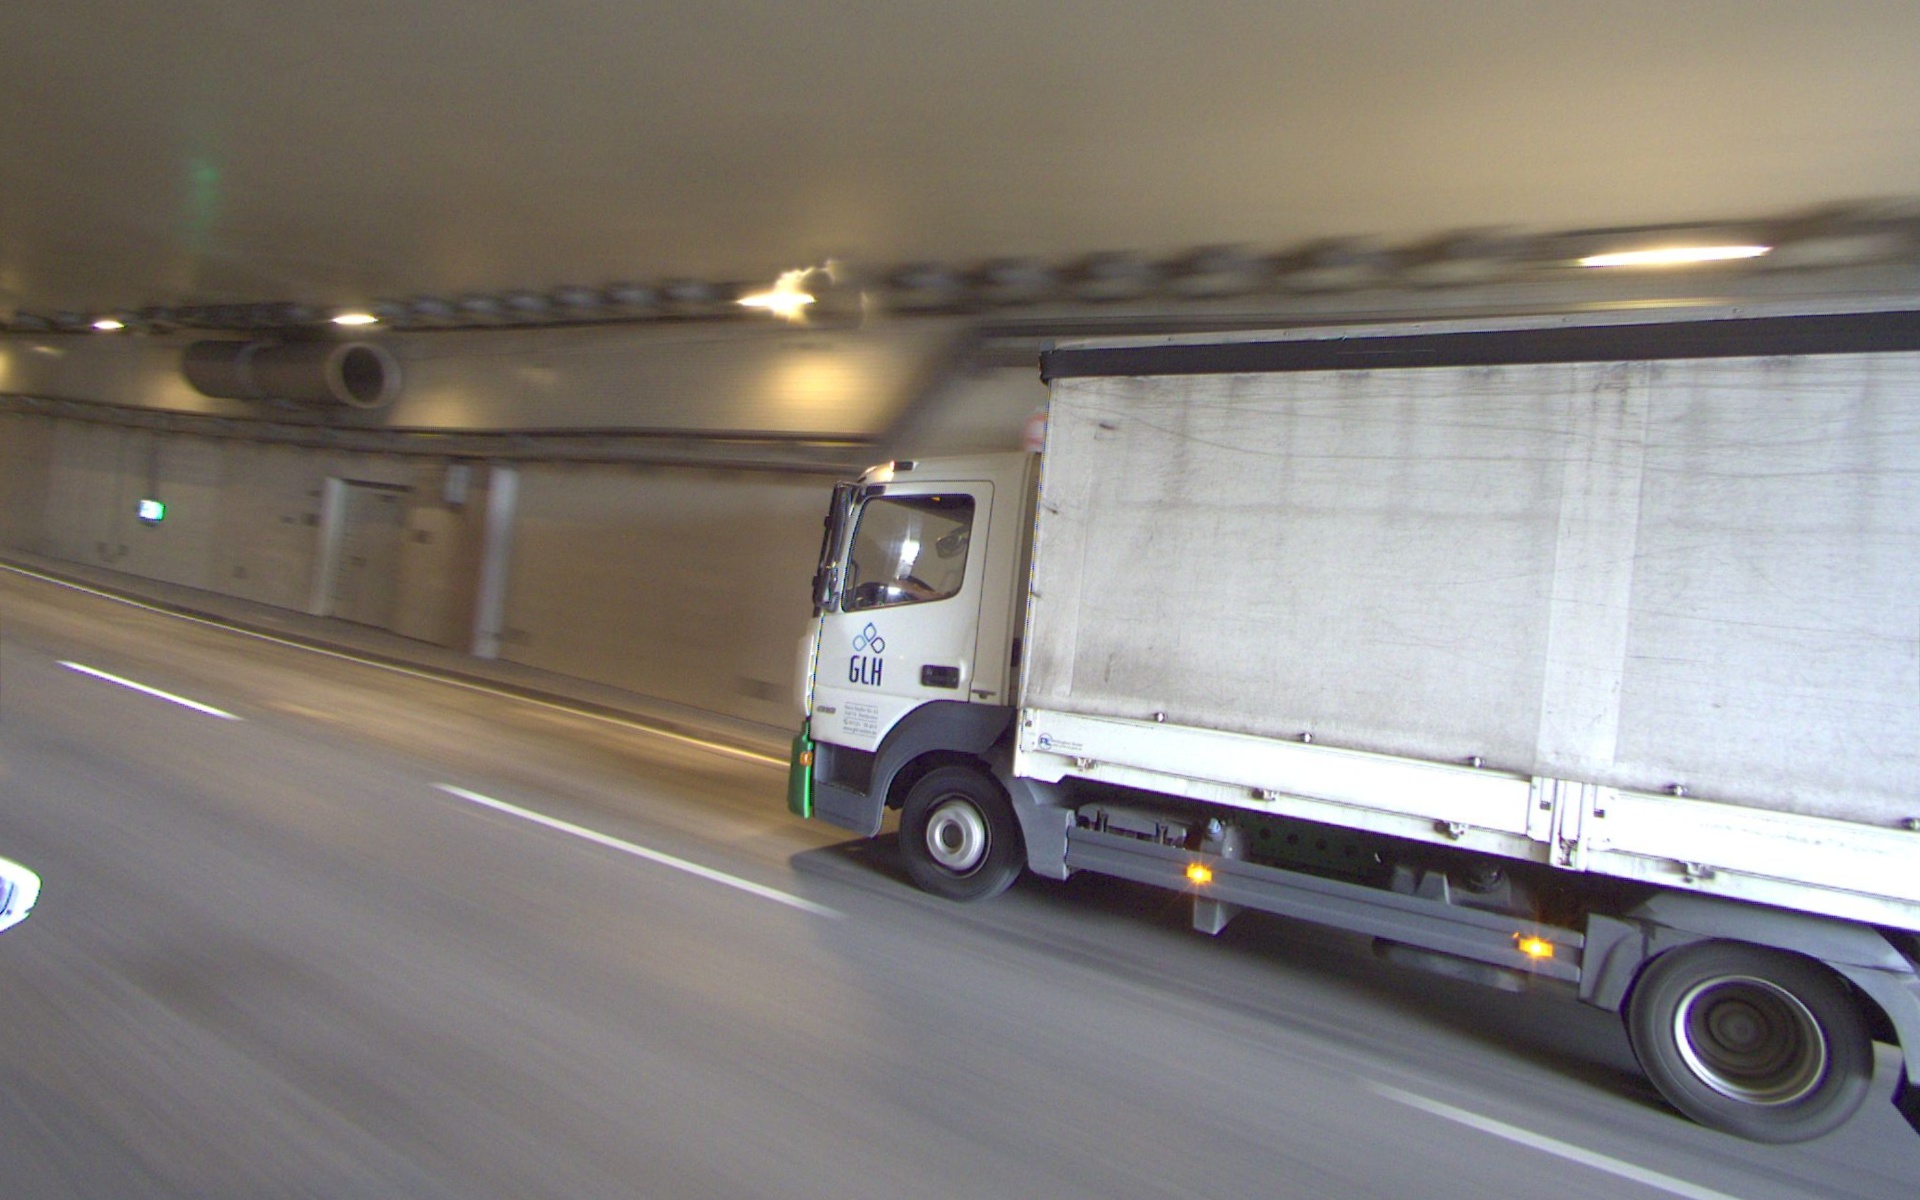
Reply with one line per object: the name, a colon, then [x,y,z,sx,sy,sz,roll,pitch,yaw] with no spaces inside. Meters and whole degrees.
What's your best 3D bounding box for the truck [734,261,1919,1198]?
truck: [2.536,0.364,5.396,7.121,3.218,2.559,7,-1,29]
